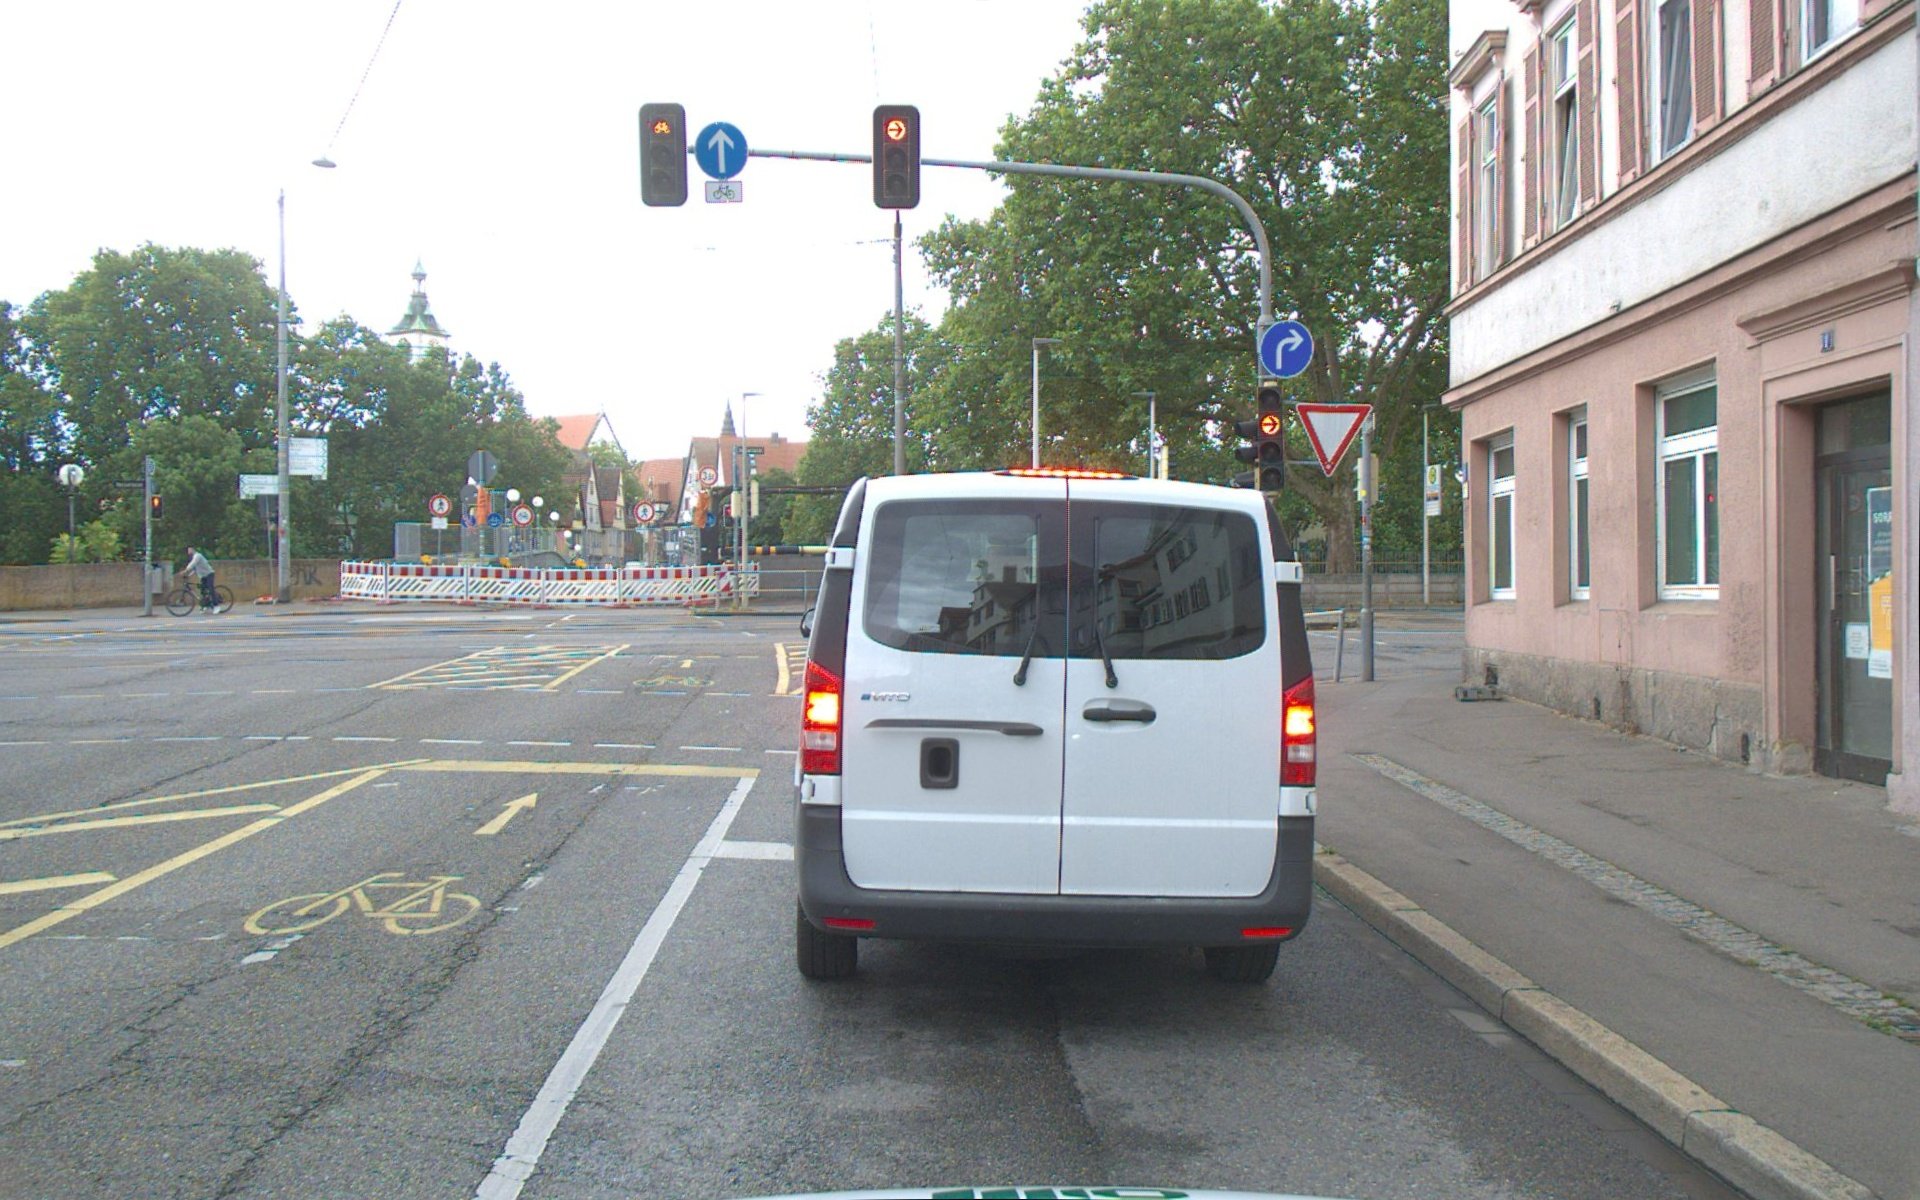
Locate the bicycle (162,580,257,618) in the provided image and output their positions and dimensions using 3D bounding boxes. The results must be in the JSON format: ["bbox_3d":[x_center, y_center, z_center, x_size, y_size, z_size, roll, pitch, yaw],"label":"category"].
[{"bbox_3d":[-19.370,-0.033,42.729,2.122,0.907,0.748,-2,2,-44],"label":"bicycle"}]

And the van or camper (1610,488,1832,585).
[{"bbox_3d":[21.341,-1.760,46.549,5.280,2.558,2.036,-1,-1,0],"label":"van or camper"}]

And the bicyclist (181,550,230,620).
[{"bbox_3d":[-19.450,-0.403,42.634,0.996,1.774,0.743,-1,2,-43],"label":"bicyclist"}]

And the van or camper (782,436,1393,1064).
[{"bbox_3d":[0.266,0.405,7.422,1.899,1.958,4.438,1,2,-4],"label":"van or camper"}]
